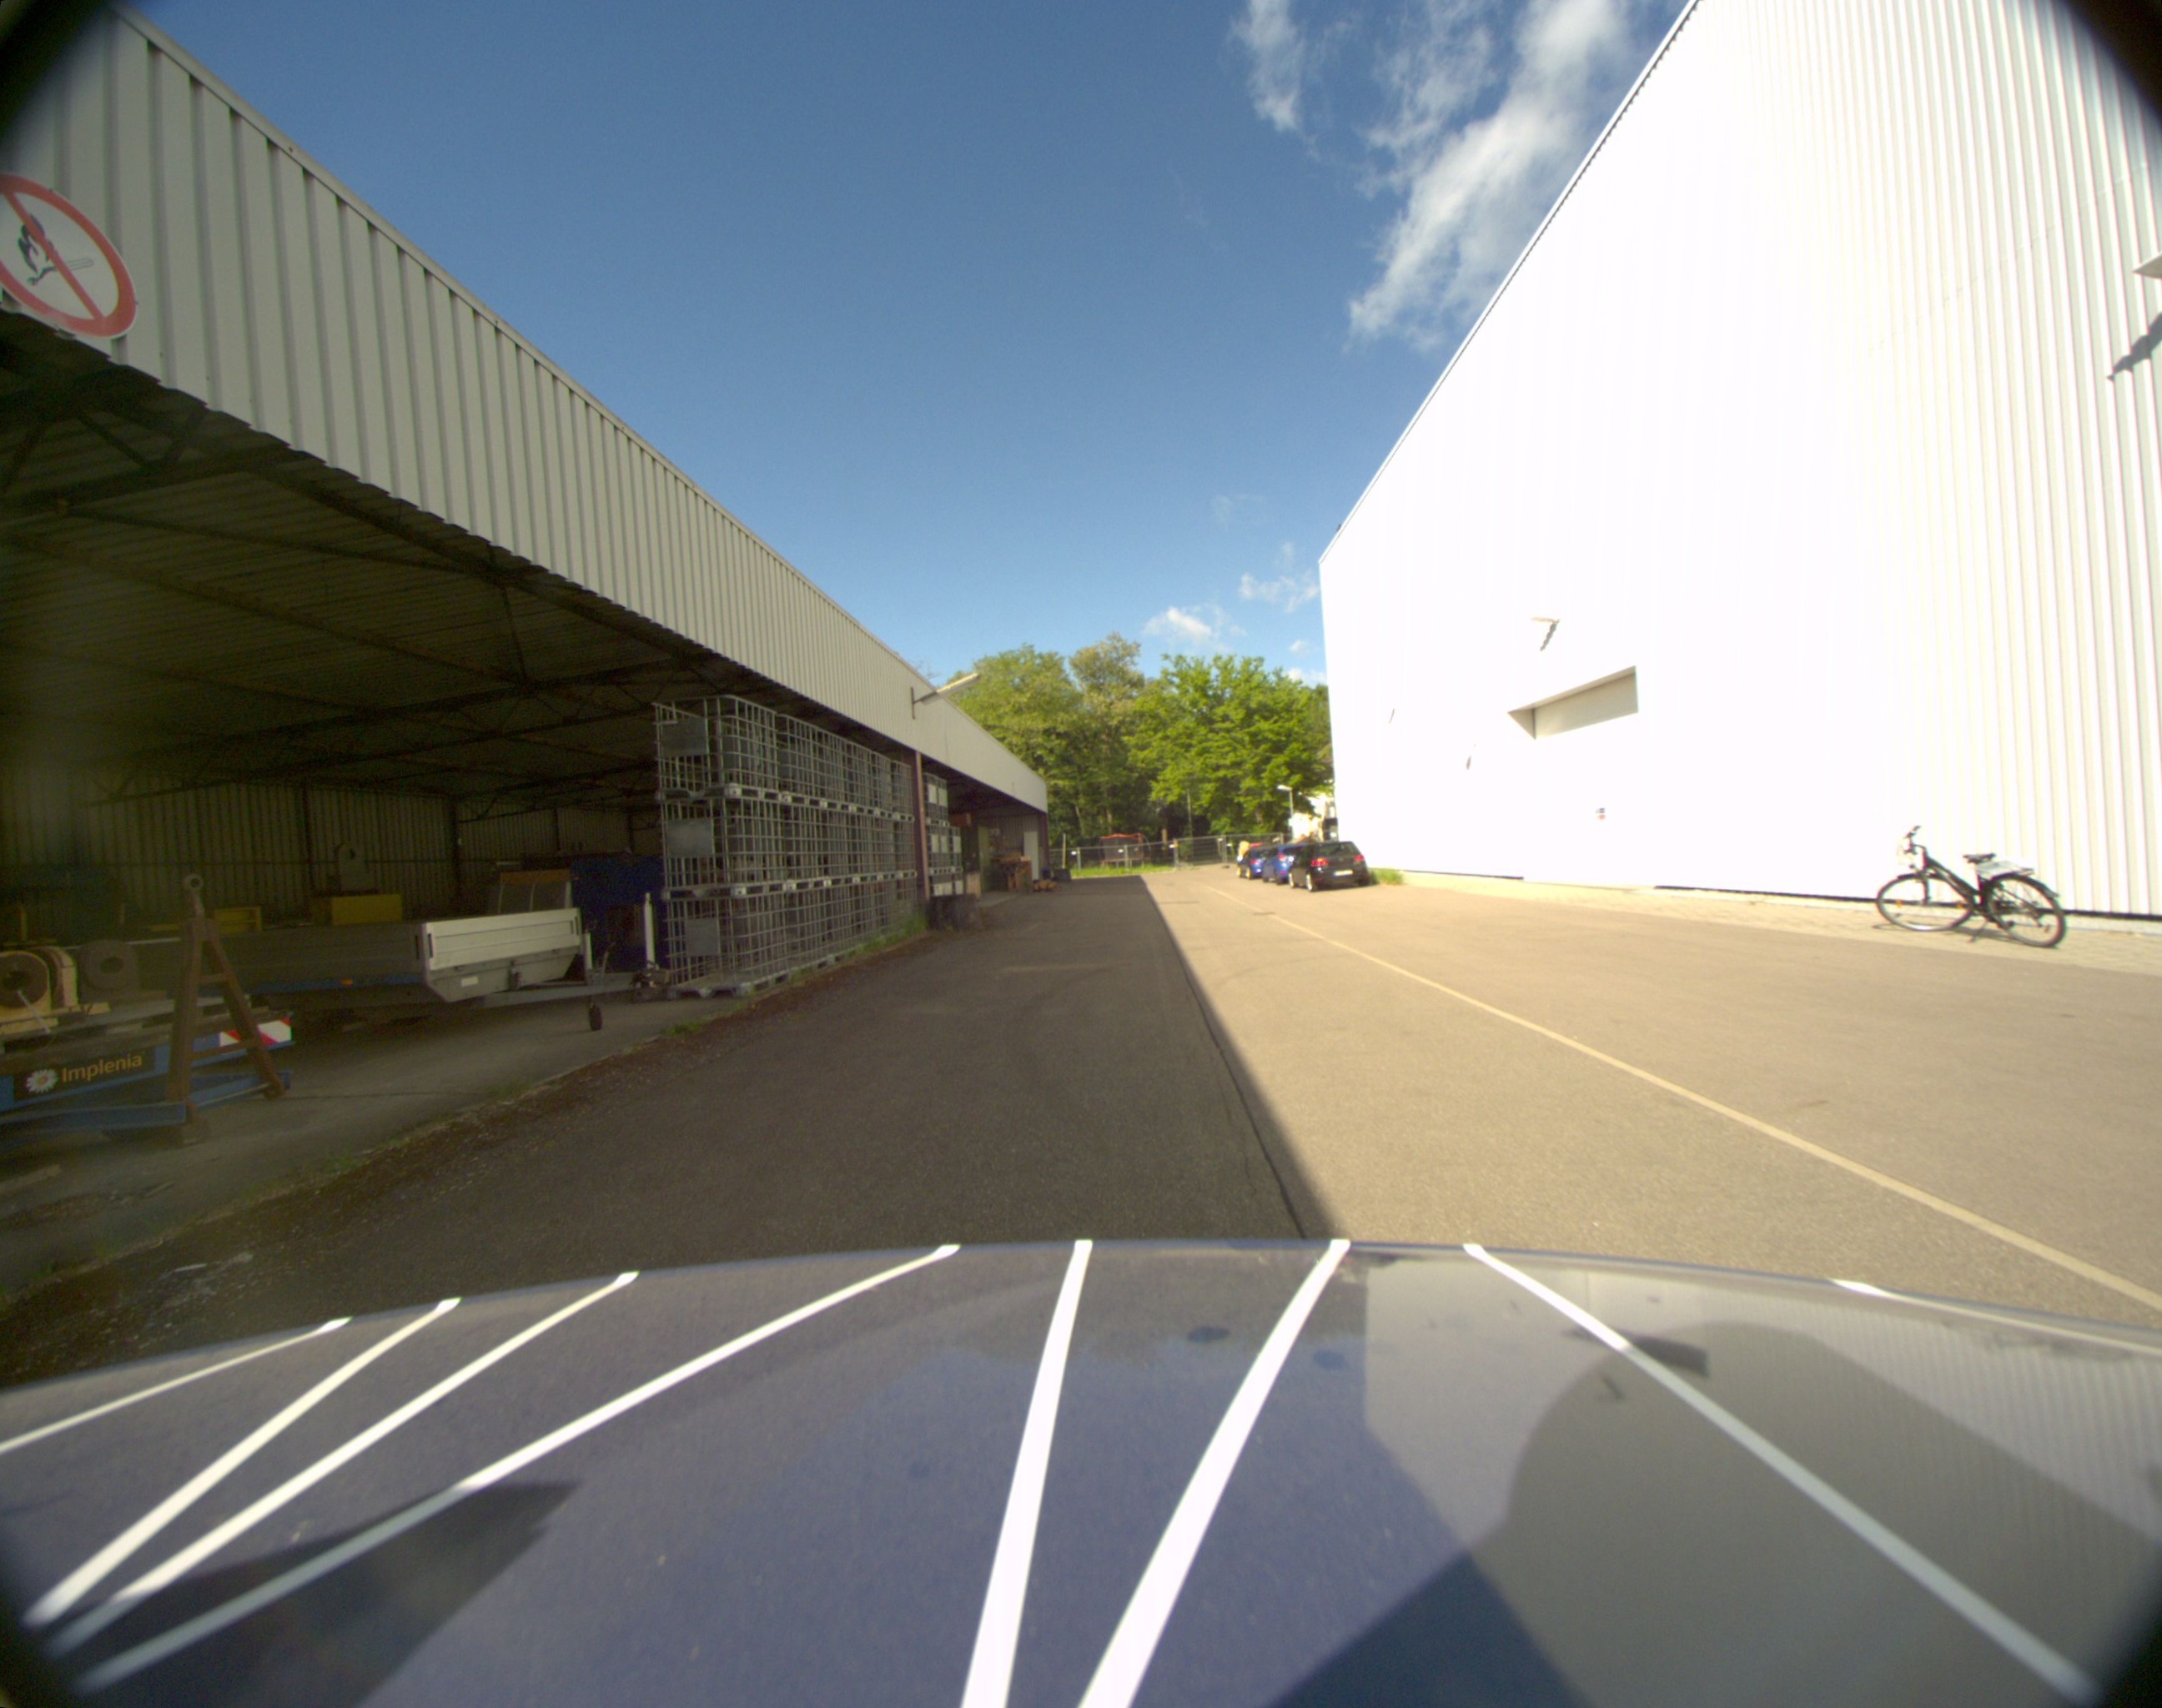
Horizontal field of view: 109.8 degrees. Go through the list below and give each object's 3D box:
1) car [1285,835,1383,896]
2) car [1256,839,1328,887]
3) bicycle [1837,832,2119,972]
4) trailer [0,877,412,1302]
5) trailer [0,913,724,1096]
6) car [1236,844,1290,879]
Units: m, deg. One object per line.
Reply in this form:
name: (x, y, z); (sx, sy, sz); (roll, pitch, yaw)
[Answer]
car: (7.728, 0.310, 23.636); (1.894, 1.513, 4.001); (-6, 0, 5)
car: (7.919, 0.302, 28.886); (1.789, 1.513, 4.001); (-6, 0, 5)
bicycle: (8.802, 0.410, 7.620); (0.909, 1.136, 1.901); (-7, 1, 19)
trailer: (-6.728, 1.084, 3.852); (4.878, 1.619, 2.029); (-3, 1, 2)
trailer: (-6.793, 1.338, 7.213); (5.836, 1.113, 2.029); (-3, 0, 2)
car: (8.152, 0.306, 34.385); (1.789, 1.431, 4.001); (-3, 0, 5)
